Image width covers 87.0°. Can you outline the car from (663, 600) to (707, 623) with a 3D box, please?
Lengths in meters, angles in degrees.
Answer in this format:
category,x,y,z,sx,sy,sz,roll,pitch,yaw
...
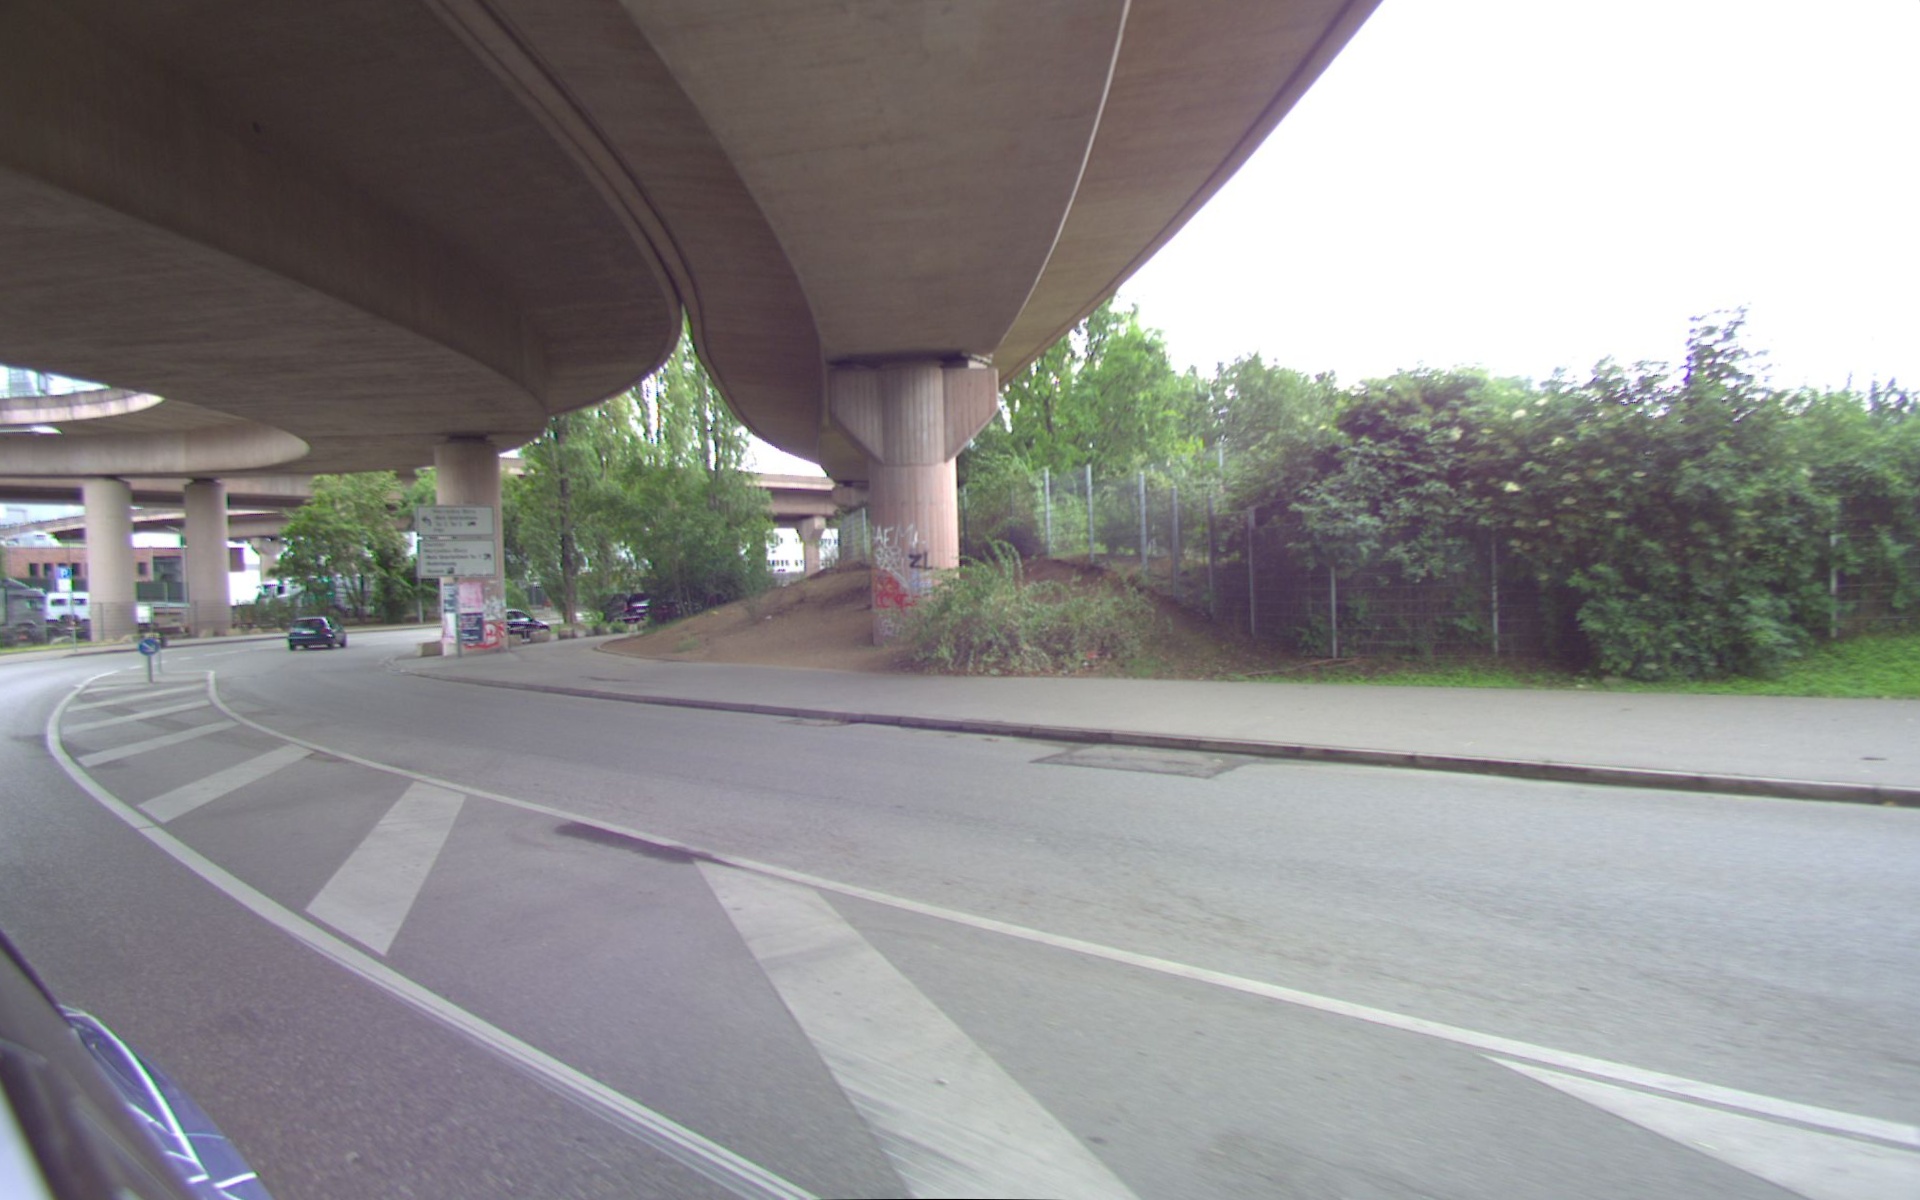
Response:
category,x,y,z,sx,sy,sz,roll,pitch,yaw
car,-18.497,0.752,67.962,1.667,1.374,4.530,-2,1,-31

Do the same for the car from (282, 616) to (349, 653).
category,x,y,z,sx,sy,sz,roll,pitch,yaw
car,-28.385,1.503,44.690,1.653,1.441,4.013,-2,0,-21

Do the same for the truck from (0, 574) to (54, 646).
category,x,y,z,sx,sy,sz,roll,pitch,yaw
truck,-61.625,0.731,60.826,3.903,4.399,10.019,-2,0,34

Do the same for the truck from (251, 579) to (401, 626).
category,x,y,z,sx,sy,sz,roll,pitch,yaw
truck,-50.430,0.097,80.903,2.266,3.524,10.096,0,1,35

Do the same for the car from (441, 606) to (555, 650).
category,x,y,z,sx,sy,sz,roll,pitch,yaw
car,-18.658,1.092,41.156,1.808,1.441,4.760,-4,0,10

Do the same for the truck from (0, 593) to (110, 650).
category,x,y,z,sx,sy,sz,roll,pitch,yaw
truck,-48.468,1.088,53.413,2.384,2.764,7.254,-2,0,-13

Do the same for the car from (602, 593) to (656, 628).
category,x,y,z,sx,sy,sz,roll,pitch,yaw
car,-19.915,0.600,60.793,1.826,1.931,4.988,-2,1,-33

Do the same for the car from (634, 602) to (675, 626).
category,x,y,z,sx,sy,sz,roll,pitch,yaw
car,-19.546,0.864,64.627,1.539,1.390,3.715,-2,1,-33

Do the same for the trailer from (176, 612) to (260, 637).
category,x,y,z,sx,sy,sz,roll,pitch,yaw
trailer,-45.698,1.495,62.450,1.587,1.341,4.372,-1,1,8

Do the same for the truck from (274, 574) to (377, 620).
category,x,y,z,sx,sy,sz,roll,pitch,yaw
truck,-48.777,-0.293,77.980,2.267,3.434,6.332,0,1,37
